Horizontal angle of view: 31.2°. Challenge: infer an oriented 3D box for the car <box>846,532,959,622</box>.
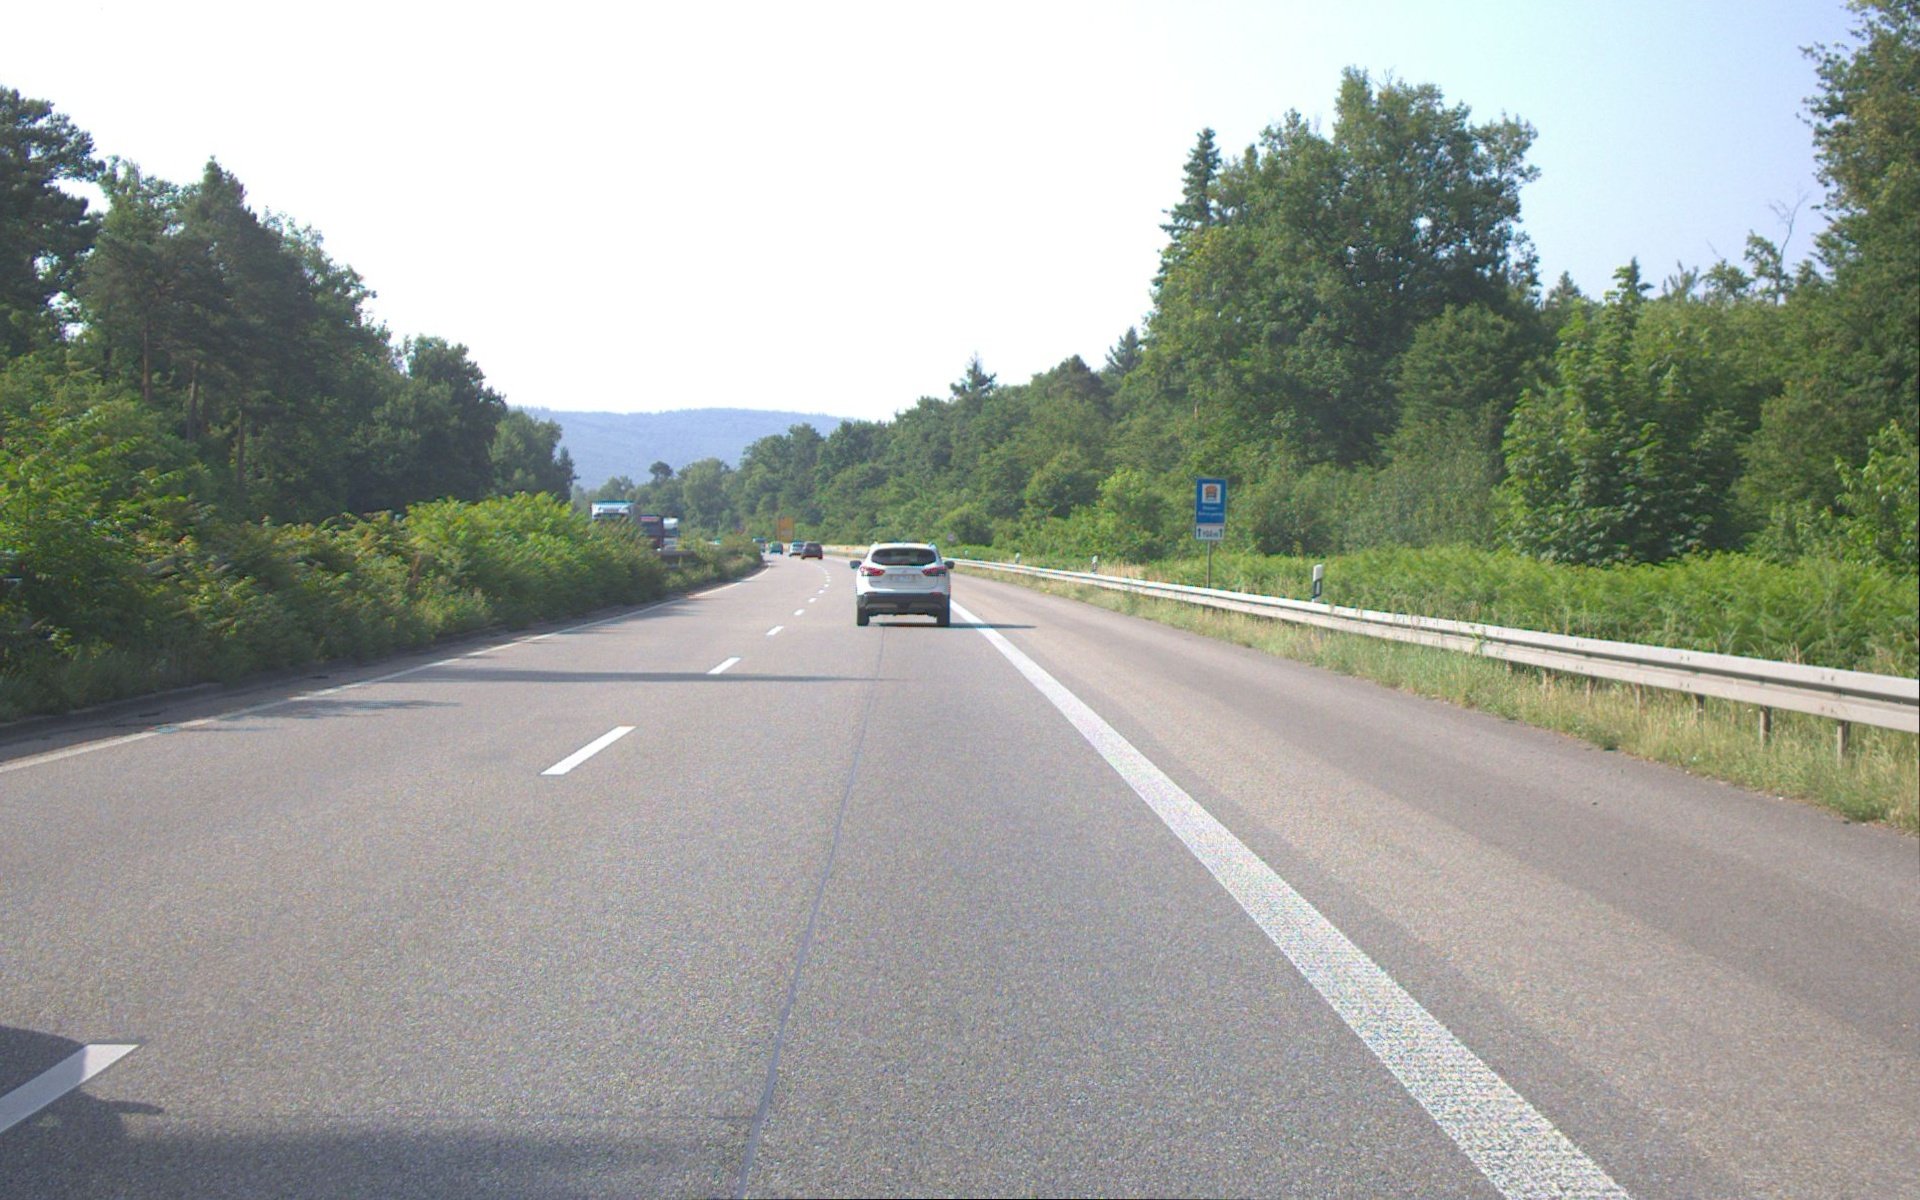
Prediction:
[{"bbox_3d":[-1.147,-0.466,66.328,1.873,1.581,4.001,2,1,-5],"label":"car"}]
